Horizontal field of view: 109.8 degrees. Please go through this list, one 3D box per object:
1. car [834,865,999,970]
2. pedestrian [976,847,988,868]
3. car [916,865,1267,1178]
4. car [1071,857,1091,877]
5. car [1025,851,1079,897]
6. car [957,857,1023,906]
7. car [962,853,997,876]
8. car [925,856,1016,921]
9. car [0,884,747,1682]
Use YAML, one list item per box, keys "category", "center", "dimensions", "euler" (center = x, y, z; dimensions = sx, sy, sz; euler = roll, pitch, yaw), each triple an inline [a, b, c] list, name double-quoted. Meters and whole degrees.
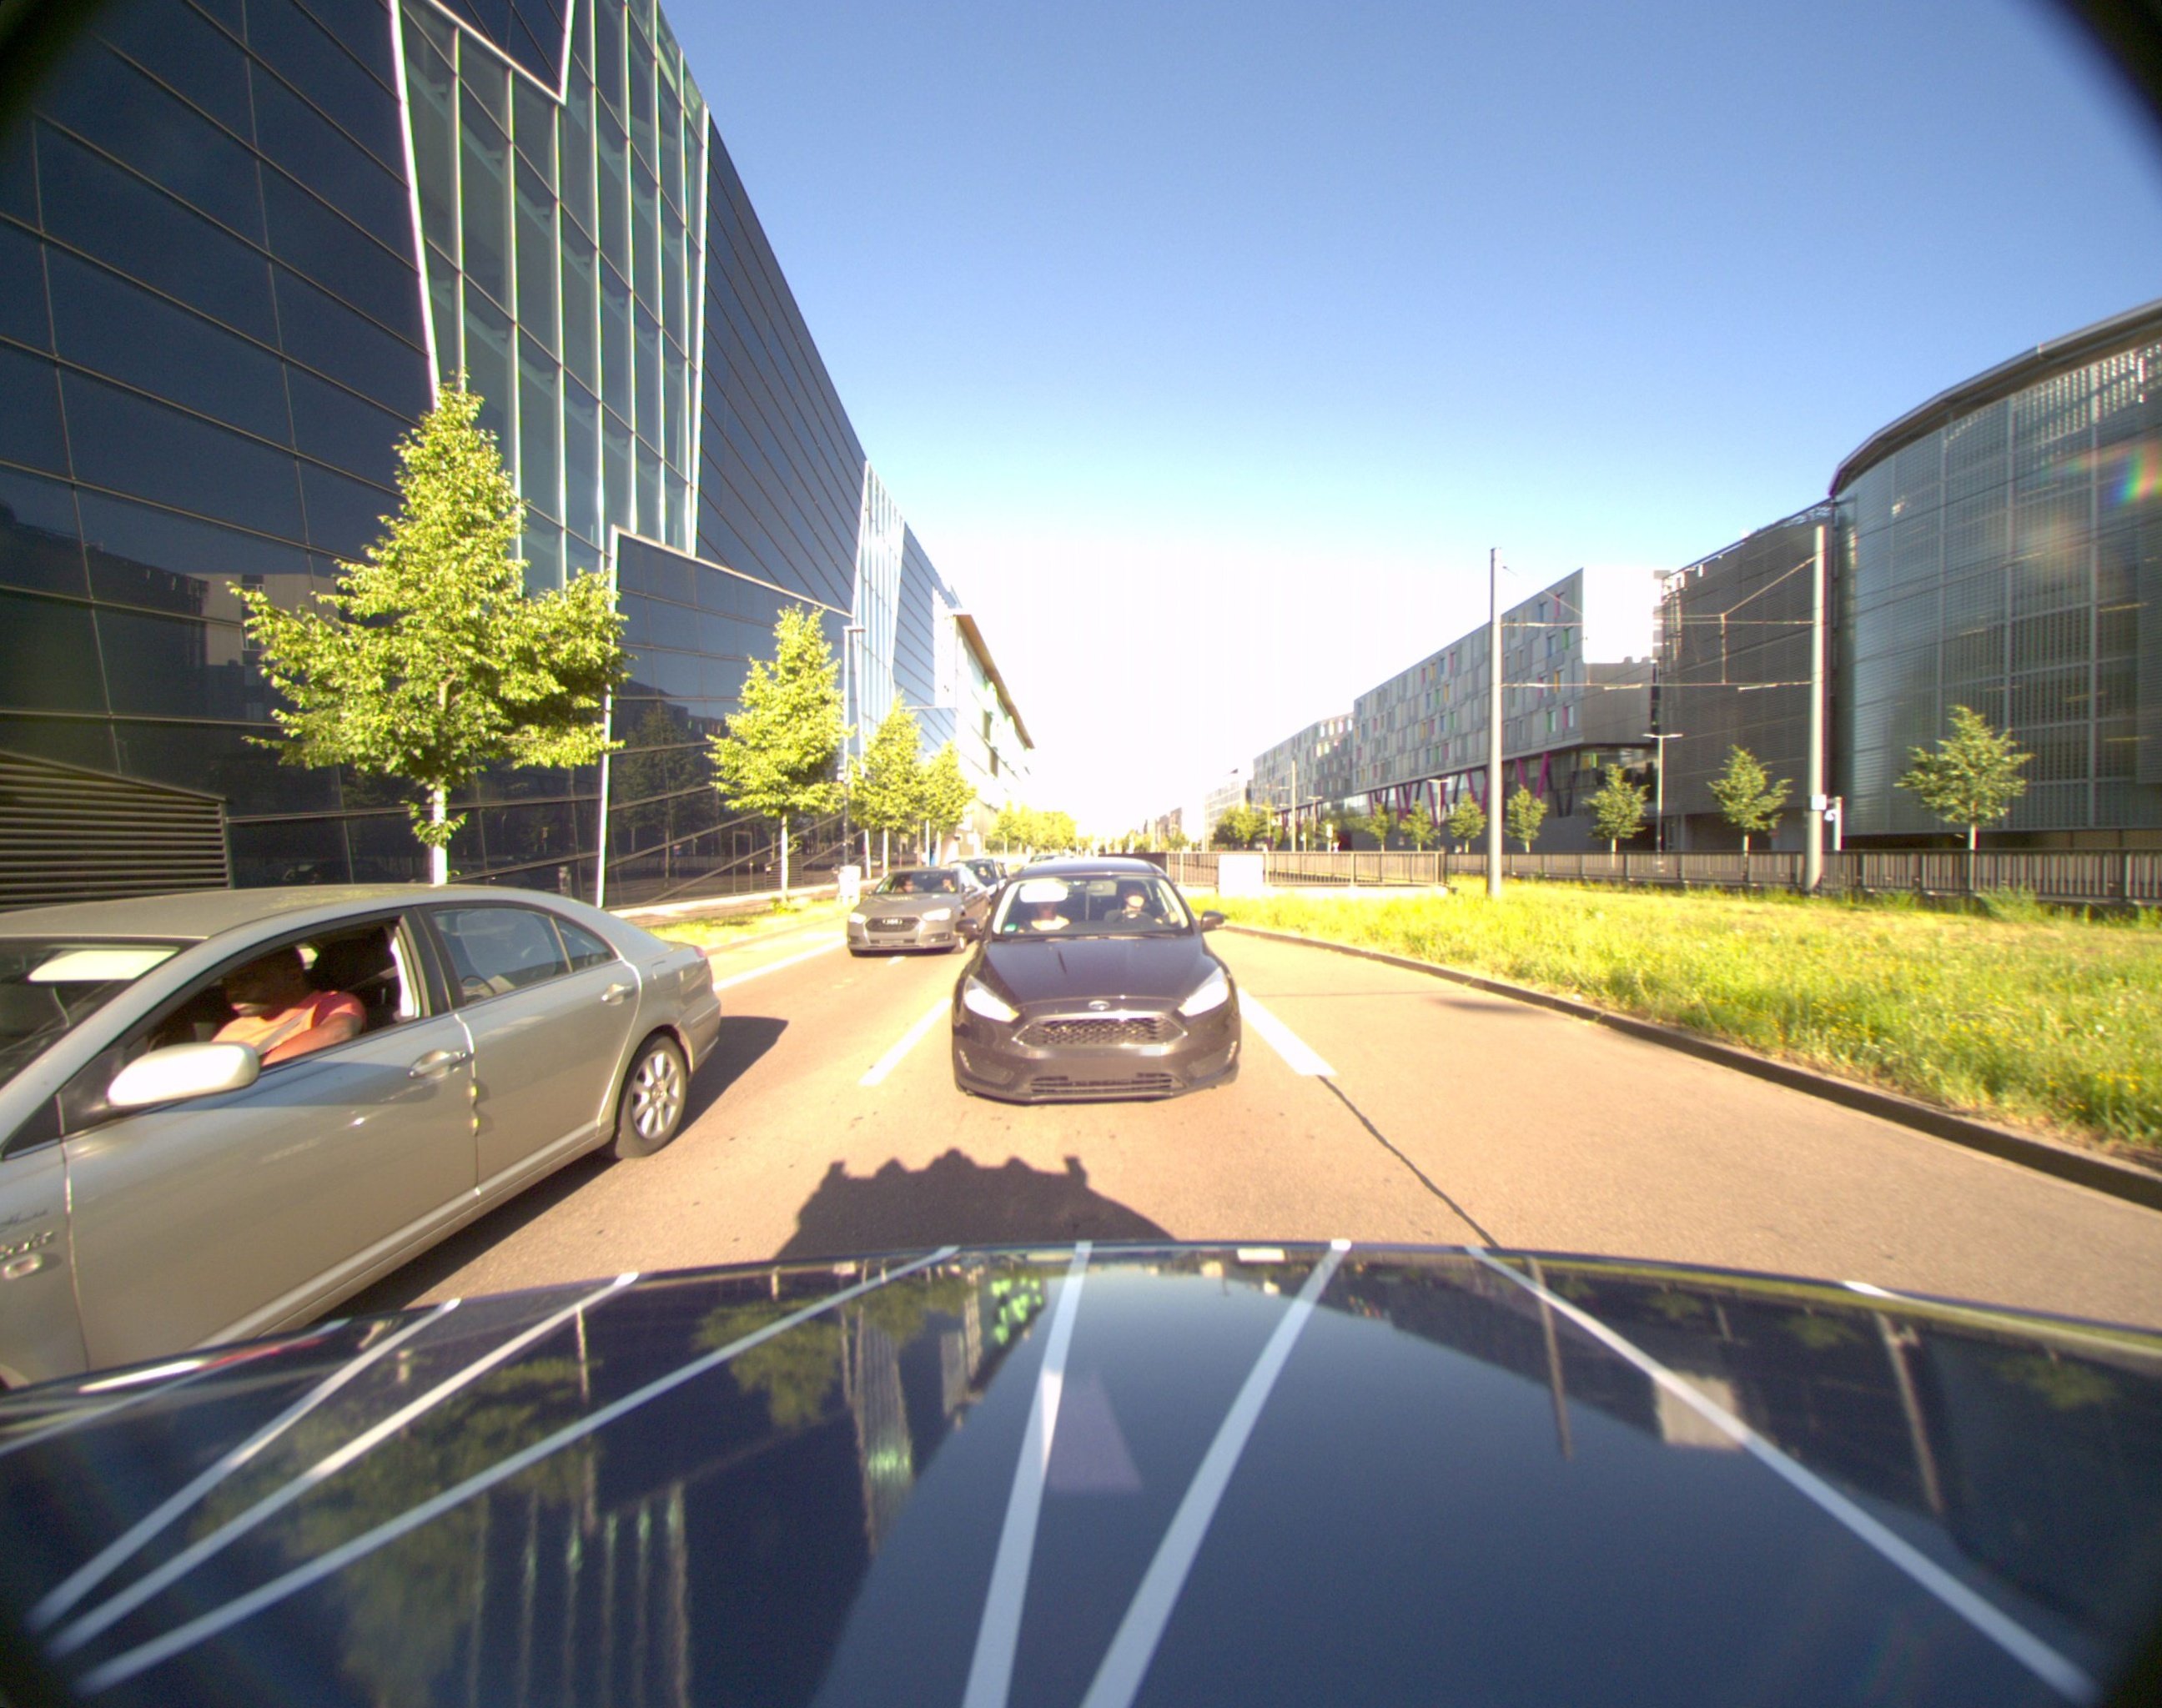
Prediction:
- category: "car"
  center: [-2.645, 0.968, 13.276]
  dimensions: [1.750, 1.384, 4.264]
  euler: [-1, 1, 2]
- category: "pedestrian"
  center: [-8.615, 0.310, 66.276]
  dimensions: [0.828, 1.814, 0.905]
  euler: [3, 1, 0]
- category: "car"
  center: [0.068, 0.906, 6.248]
  dimensions: [1.787, 1.499, 4.589]
  euler: [-2, 0, 0]
- category: "car"
  center: [0.021, 1.378, 81.471]
  dimensions: [1.998, 2.002, 3.999]
  euler: [-2, 1, 1]
- category: "car"
  center: [-1.065, 0.720, 29.600]
  dimensions: [1.907, 1.612, 3.999]
  euler: [0, 1, 1]
- category: "car"
  center: [-2.982, 0.861, 25.565]
  dimensions: [1.753, 1.469, 3.417]
  euler: [-2, 0, 0]
- category: "car"
  center: [-7.027, 0.717, 53.145]
  dimensions: [1.740, 1.489, 4.715]
  euler: [1, 0, 0]
- category: "car"
  center: [-2.803, 0.837, 20.042]
  dimensions: [1.753, 1.469, 3.971]
  euler: [-2, 0, 0]
- category: "car"
  center: [-3.087, 0.965, 2.575]
  dimensions: [1.750, 1.473, 4.628]
  euler: [-1, 1, 1]
